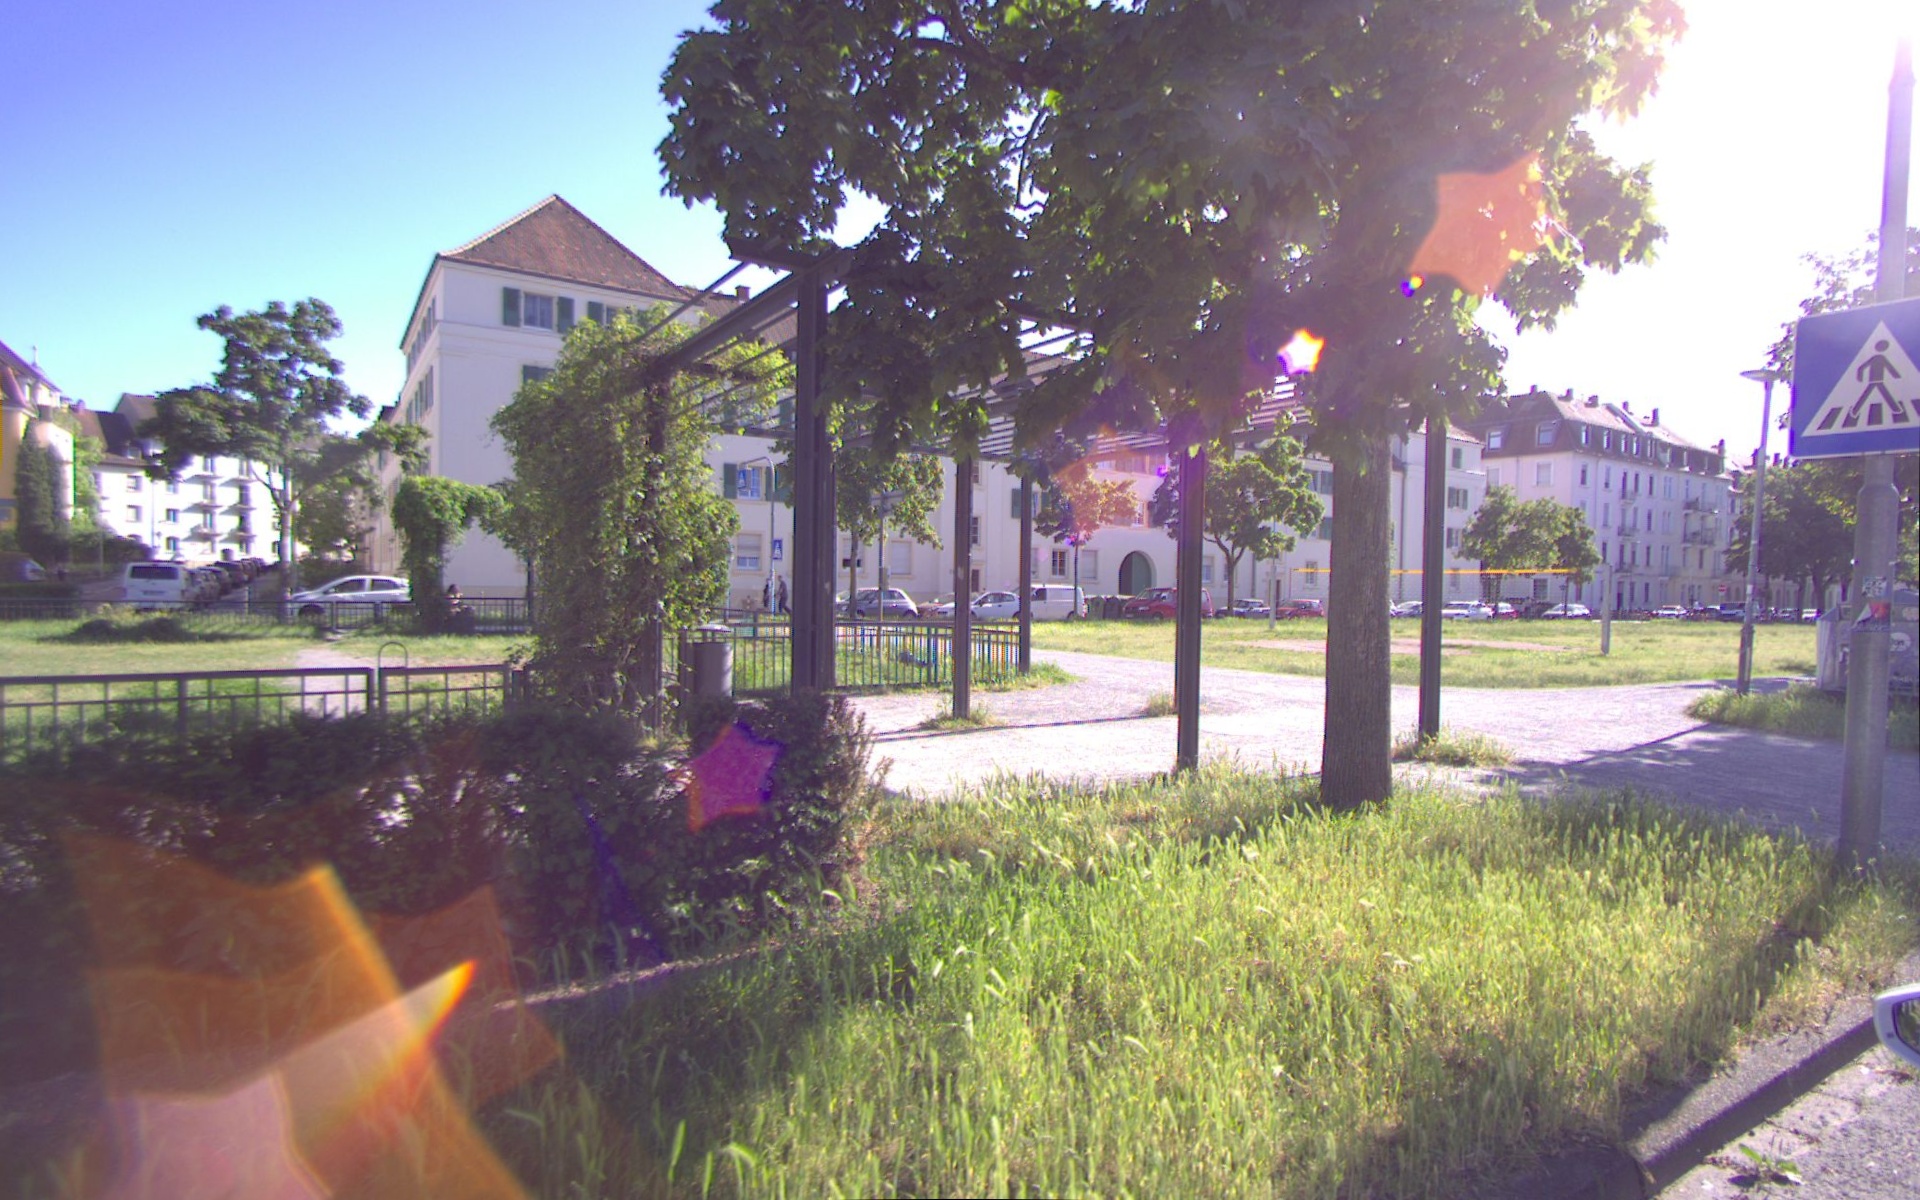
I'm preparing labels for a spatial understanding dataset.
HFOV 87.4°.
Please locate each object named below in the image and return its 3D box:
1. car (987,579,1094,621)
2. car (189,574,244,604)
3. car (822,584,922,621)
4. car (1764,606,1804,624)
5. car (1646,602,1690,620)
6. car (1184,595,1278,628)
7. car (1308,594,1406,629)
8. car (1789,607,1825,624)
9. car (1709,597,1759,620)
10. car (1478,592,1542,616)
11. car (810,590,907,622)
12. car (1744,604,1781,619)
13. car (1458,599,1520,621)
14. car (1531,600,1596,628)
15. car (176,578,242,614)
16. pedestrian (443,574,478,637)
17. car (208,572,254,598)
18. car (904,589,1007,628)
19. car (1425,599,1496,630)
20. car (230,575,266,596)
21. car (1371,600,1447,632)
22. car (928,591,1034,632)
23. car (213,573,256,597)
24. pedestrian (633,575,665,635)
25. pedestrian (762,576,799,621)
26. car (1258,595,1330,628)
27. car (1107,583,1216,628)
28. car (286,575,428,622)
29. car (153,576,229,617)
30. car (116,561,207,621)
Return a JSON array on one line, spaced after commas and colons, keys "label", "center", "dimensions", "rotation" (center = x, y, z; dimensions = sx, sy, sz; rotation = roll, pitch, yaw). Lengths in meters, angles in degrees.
[{"label": "car", "center": [4.097, -0.003, 50.731], "dimensions": [5.206, 2.011, 2.205], "rotation": [1, 1, -36]}, {"label": "car", "center": [-40.101, -0.617, 54.241], "dimensions": [2.019, 1.539, 3.784], "rotation": [1, 1, -31]}, {"label": "car", "center": [-3.381, 0.099, 38.708], "dimensions": [3.479, 1.350, 1.639], "rotation": [1, 1, -35]}, {"label": "car", "center": [75.867, 1.371, 92.465], "dimensions": [4.652, 1.582, 1.682], "rotation": [1, 1, -36]}, {"label": "car", "center": [64.535, 1.006, 91.554], "dimensions": [4.411, 1.608, 1.979], "rotation": [1, 1, -37]}, {"label": "car", "center": [15.909, 0.675, 58.981], "dimensions": [5.199, 1.845, 2.437], "rotation": [1, 1, -32]}, {"label": "car", "center": [22.434, 0.625, 56.683], "dimensions": [5.393, 1.845, 2.437], "rotation": [1, 1, -32]}, {"label": "car", "center": [80.815, 1.435, 95.866], "dimensions": [4.041, 1.547, 1.682], "rotation": [1, 1, -36]}, {"label": "car", "center": [66.938, 0.762, 86.819], "dimensions": [5.049, 1.897, 2.067], "rotation": [1, 1, -36]}, {"label": "car", "center": [48.747, 0.338, 89.085], "dimensions": [2.120, 2.041, 4.529], "rotation": [0, 1, -36]}, {"label": "car", "center": [-4.500, 0.267, 44.825], "dimensions": [3.959, 1.374, 1.758], "rotation": [1, 1, -34]}, {"label": "car", "center": [71.536, 1.007, 89.498], "dimensions": [3.492, 1.296, 1.682], "rotation": [1, 1, -36]}, {"label": "car", "center": [39.278, 0.751, 74.578], "dimensions": [4.907, 1.504, 1.981], "rotation": [1, 0, -34]}, {"label": "car", "center": [41.952, 0.983, 69.807], "dimensions": [4.658, 1.845, 2.143], "rotation": [1, 1, -35]}, {"label": "car", "center": [-34.066, -0.214, 45.661], "dimensions": [2.019, 1.539, 3.784], "rotation": [1, 1, -31]}, {"label": "pedestrian", "center": [-11.722, 0.128, 23.551], "dimensions": [0.667, 1.458, 0.540], "rotation": [0, 1, -34]}, {"label": "car", "center": [-45.854, -0.965, 63.259], "dimensions": [2.019, 1.539, 3.784], "rotation": [1, 1, -31]}, {"label": "car", "center": [-0.178, 0.400, 47.799], "dimensions": [4.599, 1.787, 1.980], "rotation": [1, 1, -36]}, {"label": "car", "center": [31.242, 0.895, 62.632], "dimensions": [4.216, 1.845, 2.220], "rotation": [1, 1, -36]}, {"label": "car", "center": [-55.554, -1.143, 78.429], "dimensions": [2.019, 1.539, 3.784], "rotation": [1, 1, -31]}, {"label": "car", "center": [26.583, 0.949, 59.482], "dimensions": [3.964, 1.774, 2.304], "rotation": [1, 1, -32]}, {"label": "car", "center": [0.903, 0.456, 41.824], "dimensions": [4.192, 1.605, 1.777], "rotation": [1, 1, -35]}, {"label": "car", "center": [-50.218, -1.043, 69.587], "dimensions": [2.019, 1.539, 3.784], "rotation": [1, 1, -31]}, {"label": "pedestrian", "center": [-8.978, 0.143, 28.994], "dimensions": [0.741, 1.707, 0.540], "rotation": [0, 1, -31]}, {"label": "pedestrian", "center": [-8.024, -0.077, 44.891], "dimensions": [1.153, 1.990, 1.329], "rotation": [0, 1, -39]}, {"label": "car", "center": [20.672, 0.687, 62.150], "dimensions": [4.125, 1.930, 2.249], "rotation": [1, 1, -35]}, {"label": "car", "center": [9.698, 0.259, 48.168], "dimensions": [5.206, 2.011, 2.205], "rotation": [1, 1, -36]}, {"label": "car", "center": [-18.705, -0.044, 31.207], "dimensions": [3.676, 1.349, 1.735], "rotation": [1, 1, -35]}, {"label": "car", "center": [-31.266, -0.162, 40.959], "dimensions": [2.019, 1.539, 3.784], "rotation": [1, 1, -31]}, {"label": "car", "center": [-28.058, -0.334, 35.419], "dimensions": [2.019, 1.982, 3.784], "rotation": [1, 1, -31]}]
